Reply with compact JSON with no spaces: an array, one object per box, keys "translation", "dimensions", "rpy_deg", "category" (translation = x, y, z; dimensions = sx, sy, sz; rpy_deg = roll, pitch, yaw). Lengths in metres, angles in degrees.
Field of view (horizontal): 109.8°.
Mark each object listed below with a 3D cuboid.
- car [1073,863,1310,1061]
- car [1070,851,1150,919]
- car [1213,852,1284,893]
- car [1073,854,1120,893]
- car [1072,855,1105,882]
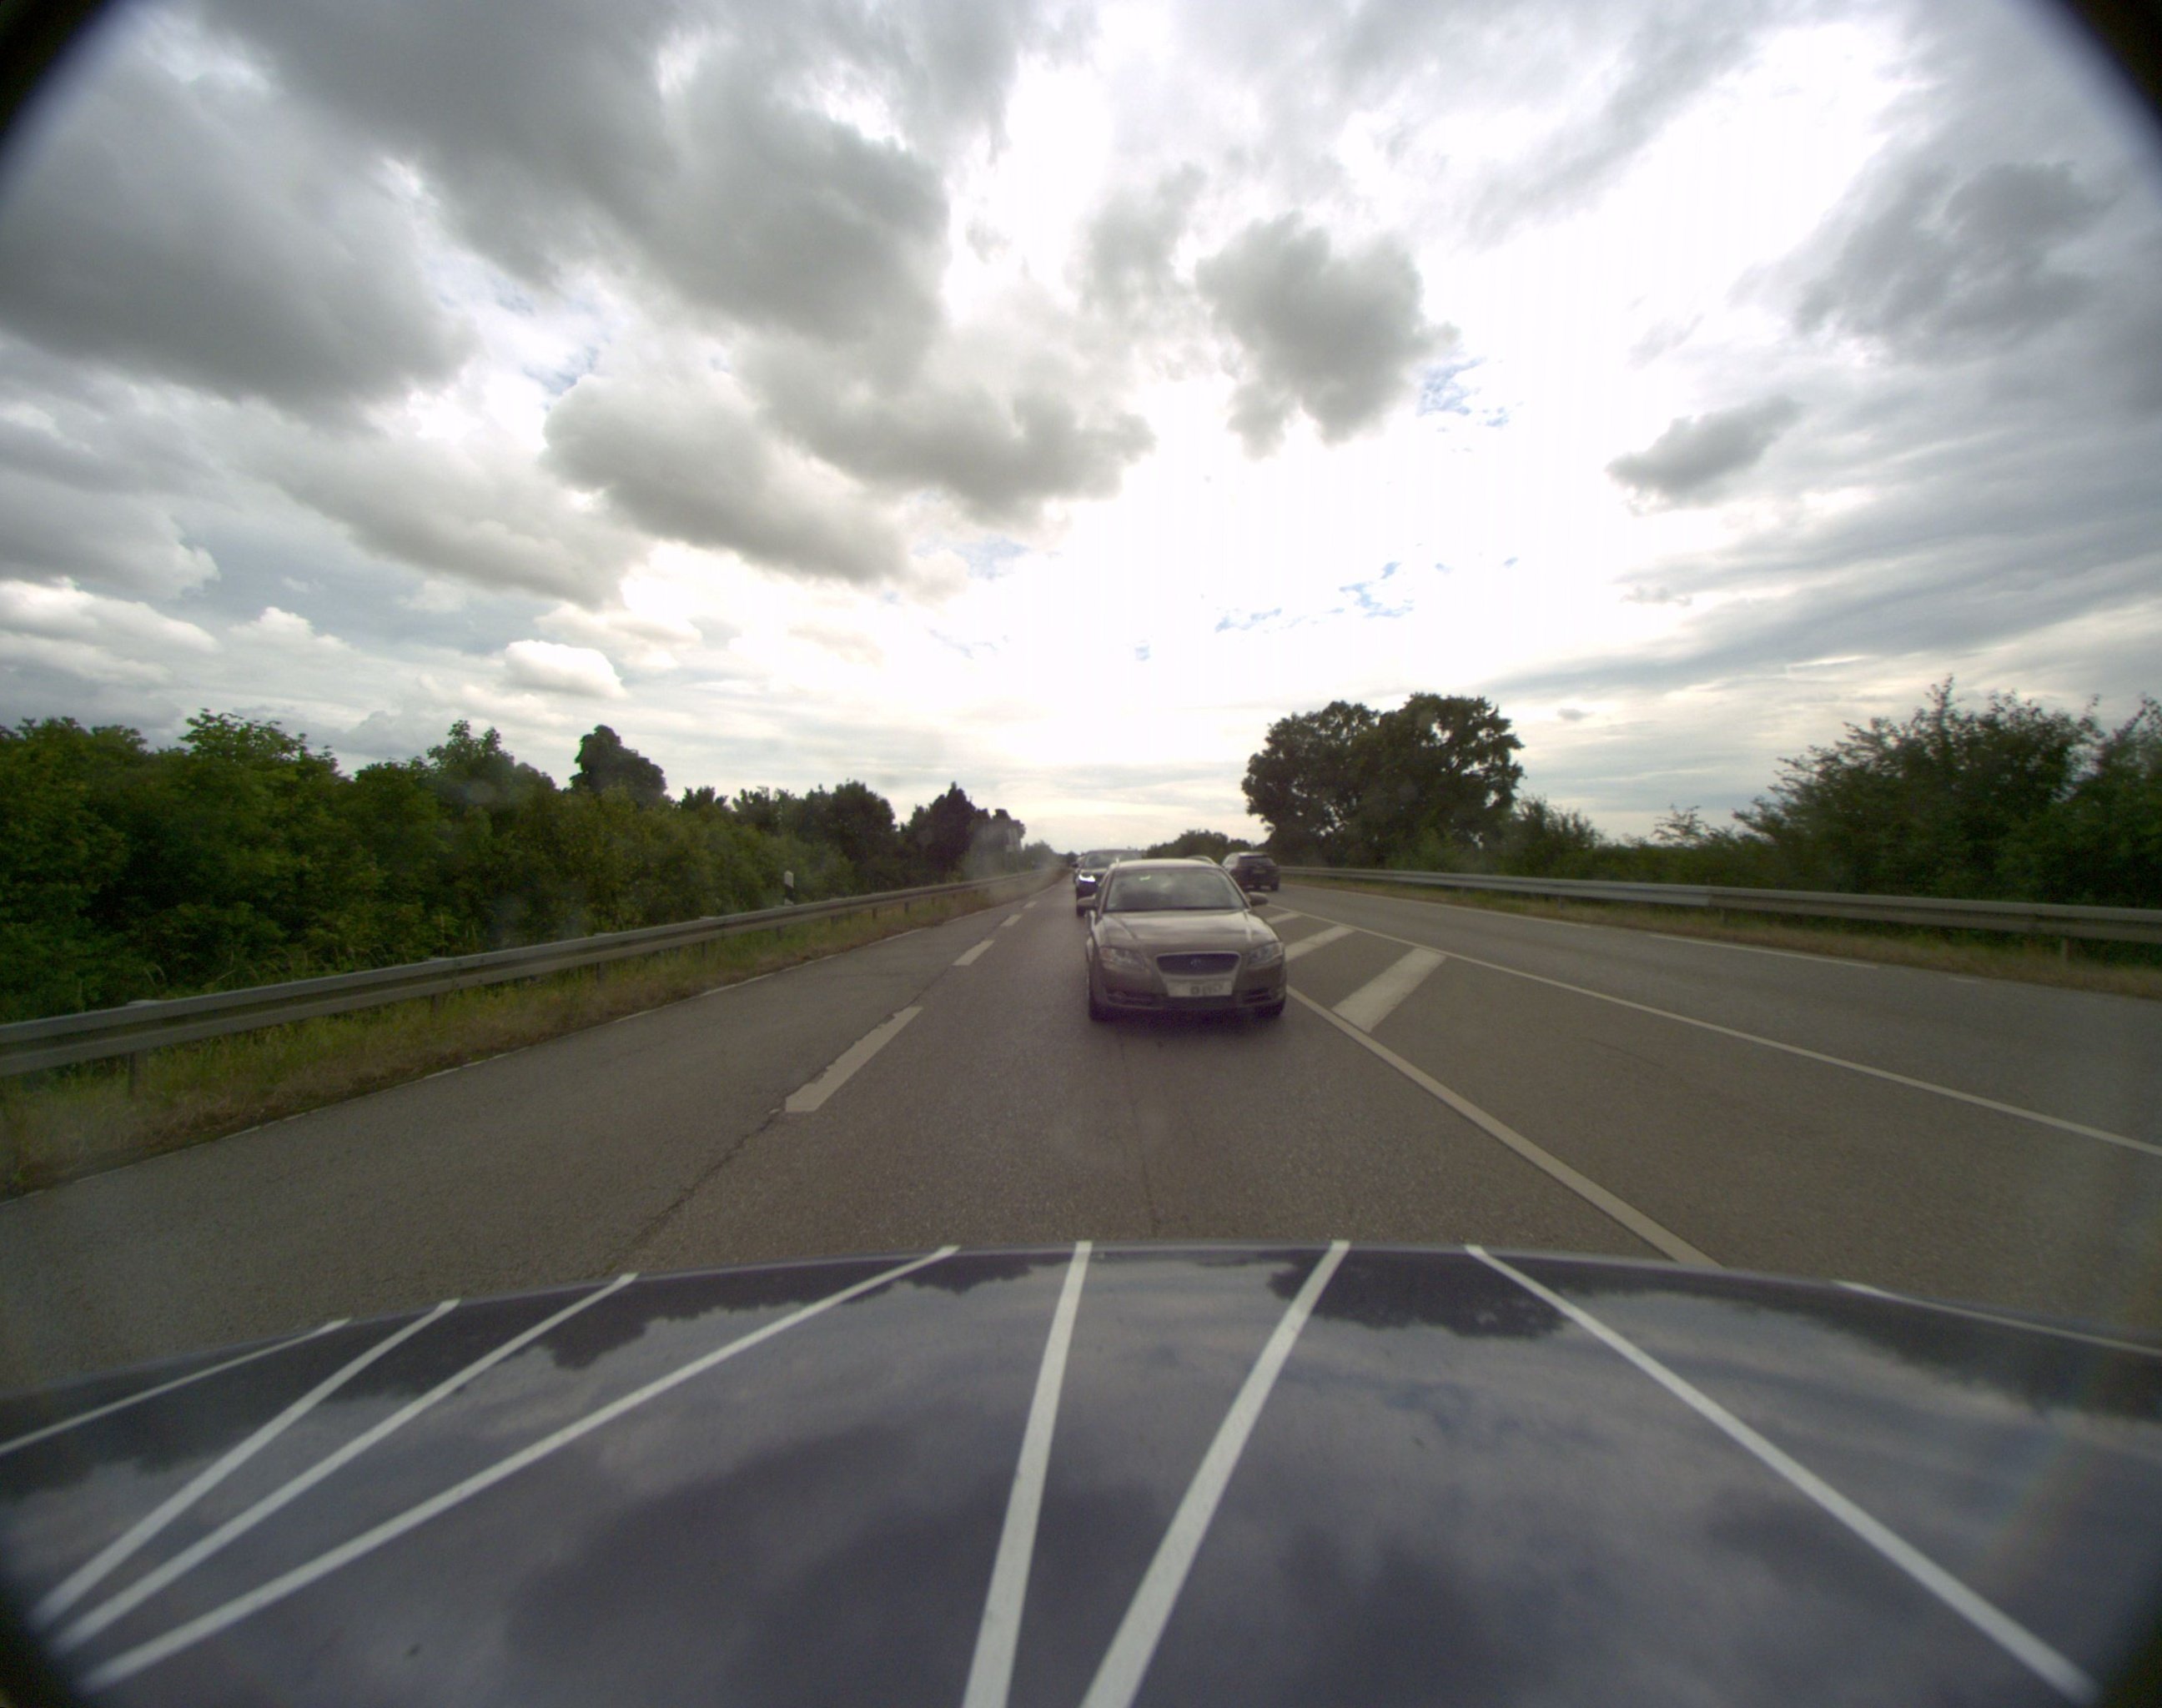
[{"translation":[0.878,0.859,7.869],"dimensions":[1.784,1.442,4.035],"rpy_deg":[-1,0,1],"category":"car"},{"translation":[0.696,0.721,19.708],"dimensions":[1.834,1.537,4.035],"rpy_deg":[-1,0,1],"category":"car"},{"translation":[6.335,0.651,29.202],"dimensions":[1.825,1.366,4.611],"rpy_deg":[-2,1,2],"category":"car"},{"translation":[0.654,0.777,32.220],"dimensions":[1.834,1.537,4.035],"rpy_deg":[-1,0,1],"category":"car"},{"translation":[0.455,0.858,45.921],"dimensions":[1.834,1.537,4.035],"rpy_deg":[-1,0,1],"category":"car"}]
